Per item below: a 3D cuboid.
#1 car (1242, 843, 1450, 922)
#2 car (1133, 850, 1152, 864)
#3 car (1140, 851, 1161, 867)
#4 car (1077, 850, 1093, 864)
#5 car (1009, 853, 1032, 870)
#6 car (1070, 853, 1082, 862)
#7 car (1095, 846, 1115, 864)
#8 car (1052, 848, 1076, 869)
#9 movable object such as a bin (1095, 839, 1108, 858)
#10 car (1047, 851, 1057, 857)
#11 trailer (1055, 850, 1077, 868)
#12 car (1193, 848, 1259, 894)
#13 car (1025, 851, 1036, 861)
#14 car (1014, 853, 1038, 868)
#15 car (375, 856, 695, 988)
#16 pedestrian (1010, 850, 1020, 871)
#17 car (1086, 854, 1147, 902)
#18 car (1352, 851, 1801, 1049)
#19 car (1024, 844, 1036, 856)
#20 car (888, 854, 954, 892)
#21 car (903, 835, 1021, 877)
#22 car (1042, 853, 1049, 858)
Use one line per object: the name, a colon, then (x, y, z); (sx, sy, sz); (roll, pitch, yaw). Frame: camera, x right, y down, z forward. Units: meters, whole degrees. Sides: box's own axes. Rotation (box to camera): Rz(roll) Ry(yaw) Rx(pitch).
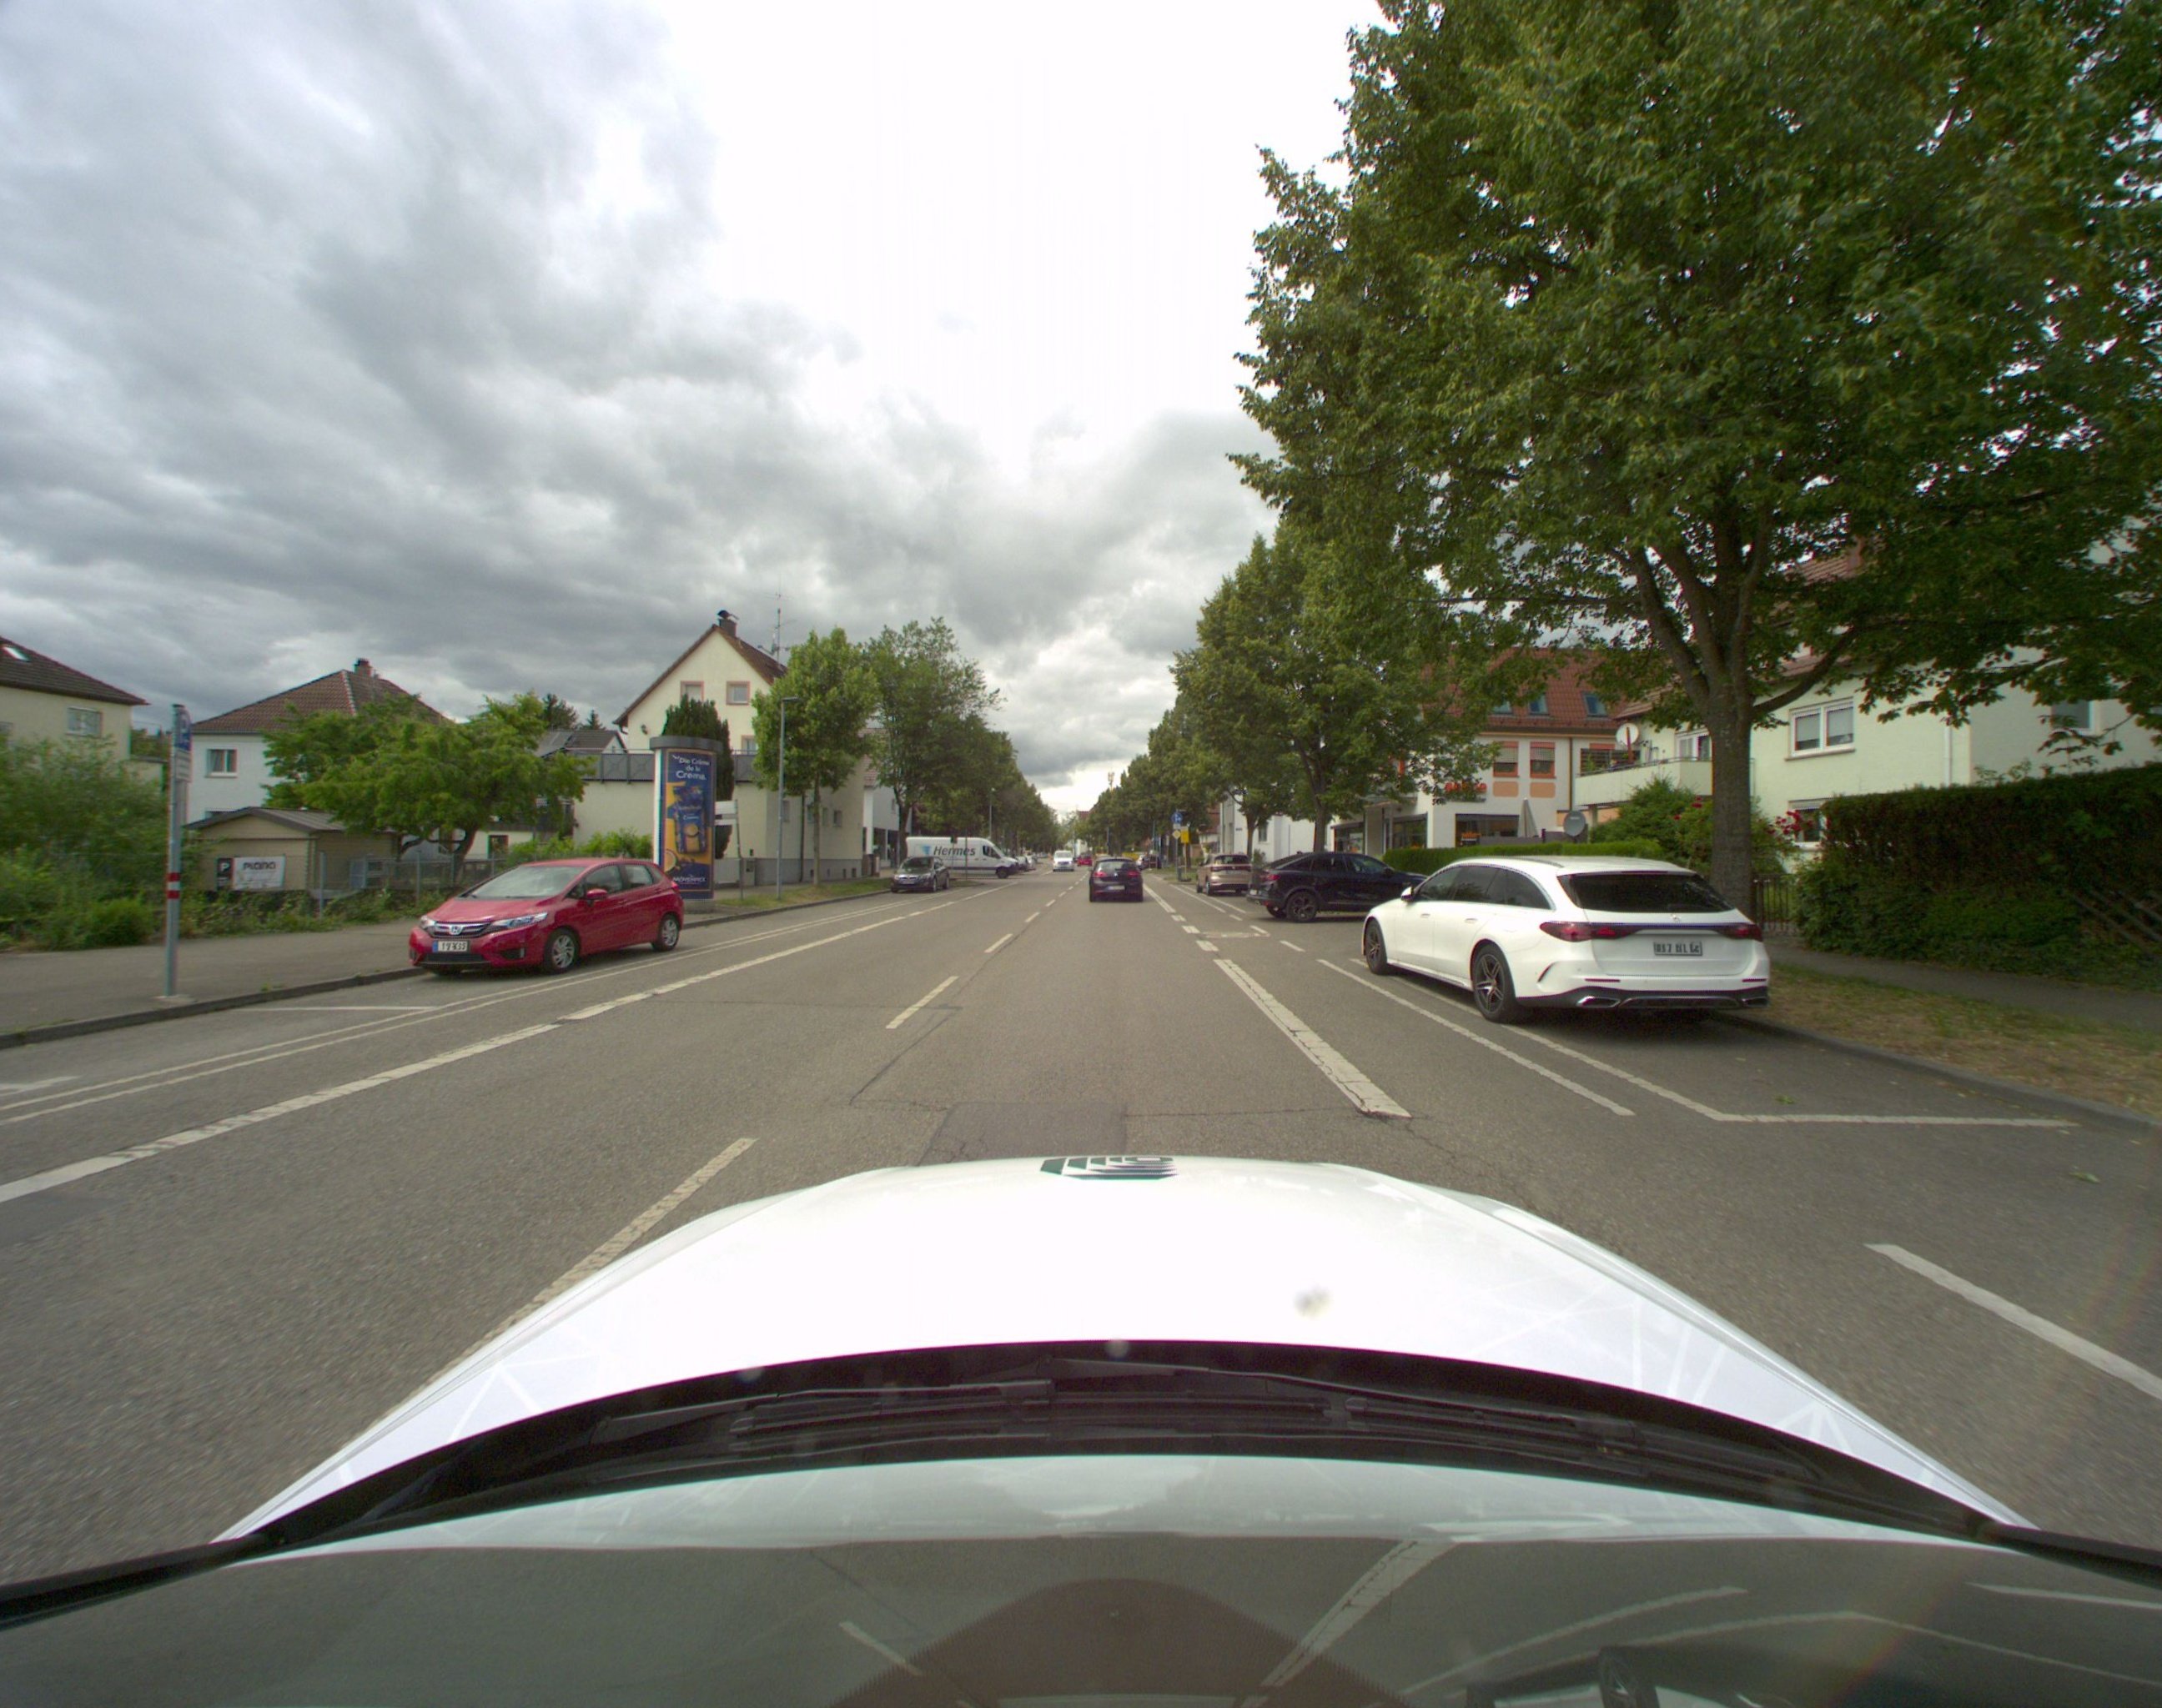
car: (5.992, 0.617, 18.690); (4.209, 1.638, 1.691); (-1, 0, -4)
car: (6.755, 0.296, 89.502); (1.667, 1.462, 3.998); (-1, 0, -1)
car: (6.721, 0.483, 79.608); (1.700, 1.454, 4.616); (-1, 0, 1)
car: (0.502, 0.358, 103.318); (1.786, 1.623, 3.737); (-1, 0, -2)
car: (-5.344, 0.680, 72.074); (1.637, 1.420, 4.020); (-1, 0, 1)
car: (-0.827, 0.565, 133.341); (1.806, 1.375, 3.688); (0, 0, -4)
car: (2.316, 0.050, 79.025); (1.898, 1.685, 3.741); (-1, 0, 2)
car: (-1.543, 0.379, 74.534); (1.959, 1.830, 4.821); (0, 0, 2)
movable object such as a bin: (2.792, -0.778, 111.899); (1.763, 2.574, 3.738); (0, 0, -1)
car: (-6.938, 0.082, 193.349); (1.810, 1.415, 3.680); (0, 0, -10)
trailer: (-1.401, 0.430, 79.285); (1.931, 1.677, 4.690); (0, 0, 2)
car: (5.335, 0.593, 30.480); (1.716, 1.580, 4.060); (0, 0, -1)
car: (-8.550, 0.342, 138.887); (1.665, 1.772, 4.458); (-1, 0, -6)
car: (-5.313, 0.620, 79.042); (1.707, 1.406, 4.304); (-1, 0, 3)
car: (-7.545, 0.823, 11.844); (1.678, 1.541, 4.136); (0, 0, 4)
pedestrian: (-5.165, 0.504, 63.852); (0.539, 1.681, 0.752); (1, 1, 10)
car: (1.126, 0.746, 27.110); (1.813, 1.437, 3.738); (-1, 0, -1)
car: (4.522, 0.715, 8.522); (1.799, 1.475, 4.812); (0, 0, 0)
car: (-10.178, -0.776, 160.846); (2.090, 2.175, 5.033); (0, 0, -7)
car: (-6.665, 0.738, 34.344); (1.724, 1.469, 4.304); (-1, 0, 3)
car: (-7.569, 0.114, 52.284); (7.270, 2.594, 2.218); (0, 0, -2)
car: (-10.173, 0.304, 234.858); (1.806, 1.415, 3.688); (0, 0, -4)
